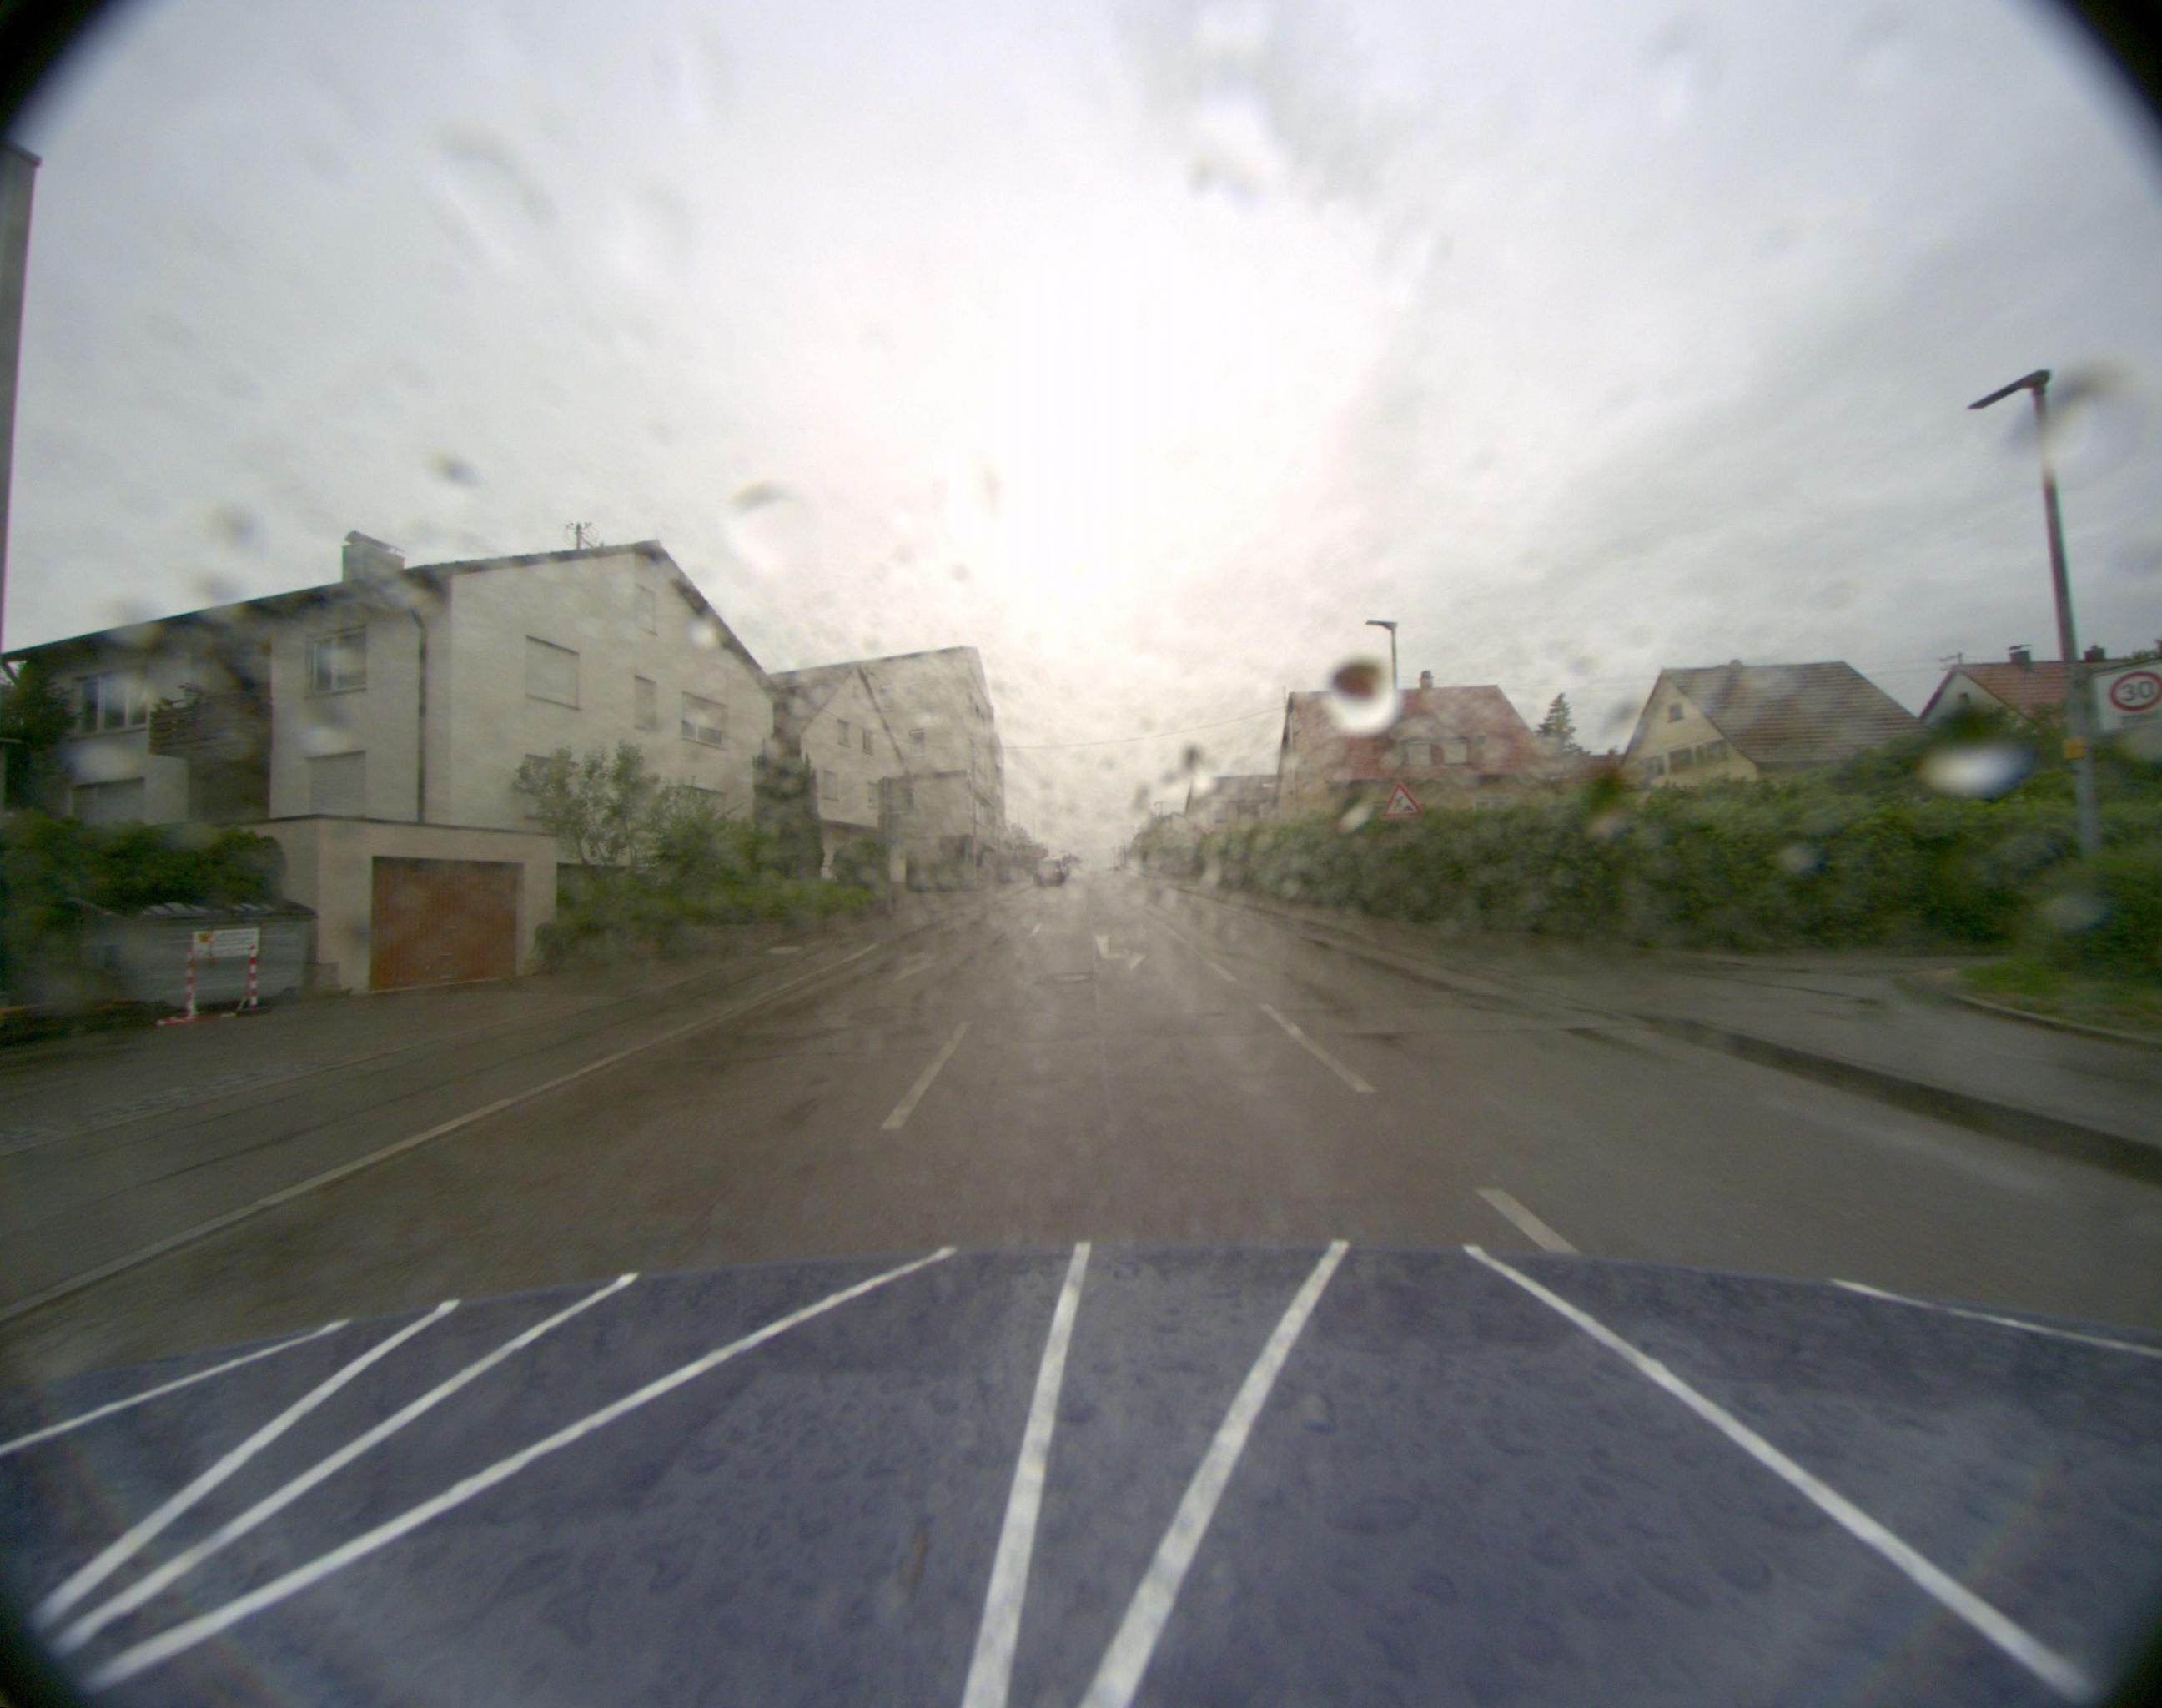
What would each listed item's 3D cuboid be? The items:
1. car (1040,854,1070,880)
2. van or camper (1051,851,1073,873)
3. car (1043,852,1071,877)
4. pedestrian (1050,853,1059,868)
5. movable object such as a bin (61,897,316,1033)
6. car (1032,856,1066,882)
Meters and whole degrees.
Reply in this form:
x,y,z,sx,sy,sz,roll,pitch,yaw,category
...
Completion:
x,y,z,sx,sy,sz,roll,pitch,yaw,category
-1.928,0.931,57.622,1.883,1.823,4.489,-2,0,1,car
-1.900,0.767,77.141,1.998,2.101,5.203,-1,0,1,van or camper
-1.971,0.829,63.400,1.998,1.923,4.976,-2,0,1,car
-3.162,0.756,89.901,1.026,1.748,1.031,-1,-1,-1,pedestrian
-11.538,1.360,9.918,1.263,1.509,1.781,-1,0,16,movable object such as a bin
-2.157,1.016,52.396,1.998,1.635,4.958,-2,0,1,car
